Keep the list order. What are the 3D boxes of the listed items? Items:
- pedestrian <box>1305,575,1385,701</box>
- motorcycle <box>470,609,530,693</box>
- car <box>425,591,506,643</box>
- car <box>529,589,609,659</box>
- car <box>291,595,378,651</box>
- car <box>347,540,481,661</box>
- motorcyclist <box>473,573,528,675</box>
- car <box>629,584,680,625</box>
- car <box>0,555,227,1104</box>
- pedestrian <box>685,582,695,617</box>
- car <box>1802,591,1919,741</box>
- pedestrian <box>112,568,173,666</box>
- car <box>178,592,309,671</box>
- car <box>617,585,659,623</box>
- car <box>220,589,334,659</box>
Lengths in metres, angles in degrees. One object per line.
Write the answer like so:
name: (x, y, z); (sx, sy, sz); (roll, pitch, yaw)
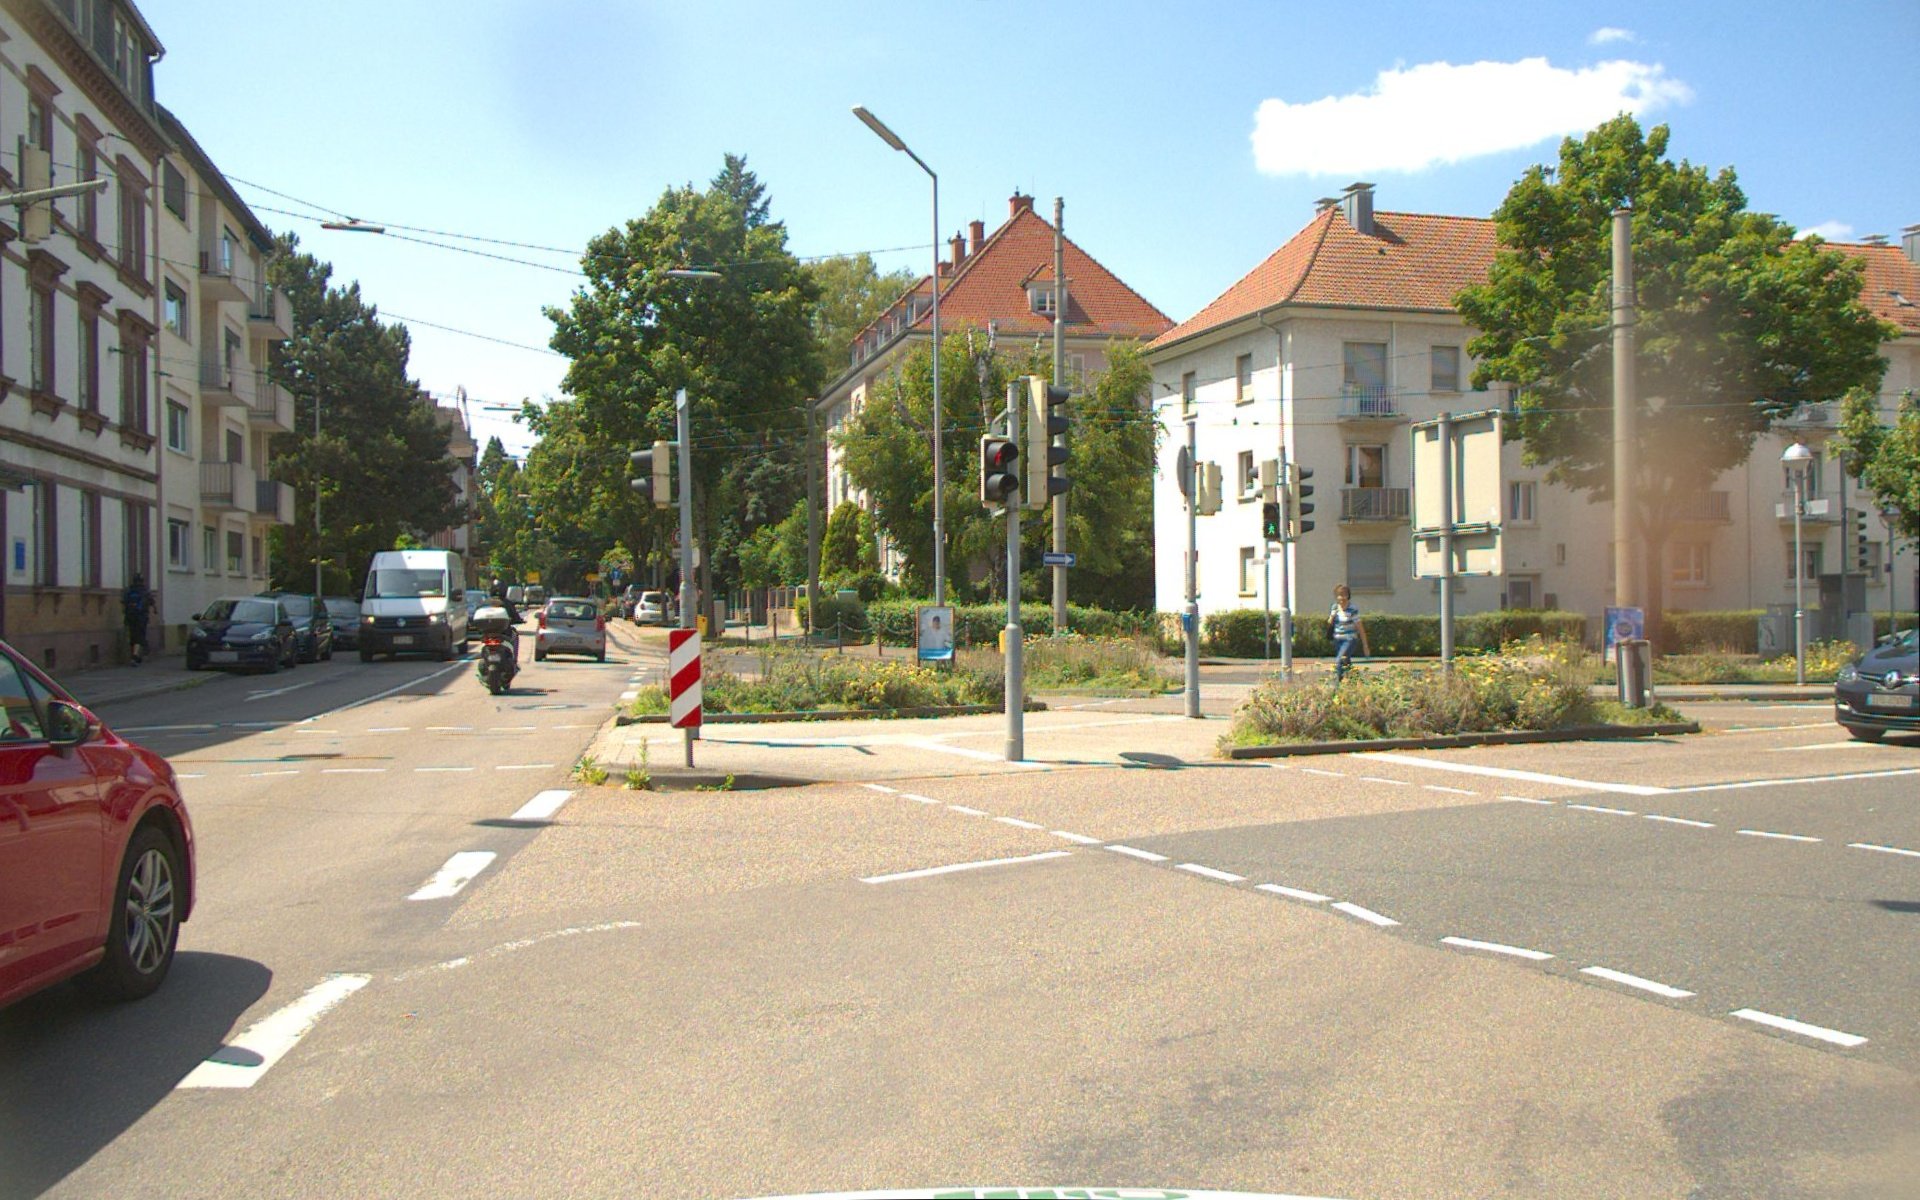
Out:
pedestrian: (5.429, 0.518, 23.346); (0.826, 1.735, 0.755); (0, 0, -30)
motorcycle: (-6.763, 0.723, 24.386); (0.698, 1.154, 2.191); (0, 0, -12)
car: (-16.551, 0.542, 55.566); (1.817, 1.585, 4.280); (-2, 0, -6)
car: (-9.266, 0.538, 39.344); (1.768, 1.585, 4.024); (0, 0, -13)
car: (-17.911, 0.634, 47.502); (1.961, 1.536, 3.983); (0, 0, -15)
car: (-13.135, 0.002, 40.255); (2.178, 2.544, 7.530); (-3, 1, -12)
motorcyclist: (-6.737, 0.341, 24.282); (0.698, 1.471, 1.016); (0, 0, -12)
car: (-13.864, 0.186, 74.841); (1.960, 1.839, 3.984); (0, 0, -15)
car: (-3.623, 0.655, 4.419); (1.763, 1.585, 4.034); (1, 0, -4)
pedestrian: (-13.197, -0.026, 80.879); (0.499, 1.685, 0.465); (0, 0, -10)
car: (11.506, 0.668, 18.210); (4.365, 1.526, 1.980); (0, 0, -30)
pedestrian: (-16.569, 0.339, 33.551); (0.919, 1.965, 0.973); (0, 0, -15)
car: (-14.805, 0.645, 34.385); (1.961, 1.546, 3.982); (1, -1, -16)
car: (-17.127, 0.187, 87.869); (1.960, 1.940, 3.984); (0, 0, -15)
car: (-16.019, 0.565, 38.963); (1.961, 1.546, 3.983); (1, -1, -15)
